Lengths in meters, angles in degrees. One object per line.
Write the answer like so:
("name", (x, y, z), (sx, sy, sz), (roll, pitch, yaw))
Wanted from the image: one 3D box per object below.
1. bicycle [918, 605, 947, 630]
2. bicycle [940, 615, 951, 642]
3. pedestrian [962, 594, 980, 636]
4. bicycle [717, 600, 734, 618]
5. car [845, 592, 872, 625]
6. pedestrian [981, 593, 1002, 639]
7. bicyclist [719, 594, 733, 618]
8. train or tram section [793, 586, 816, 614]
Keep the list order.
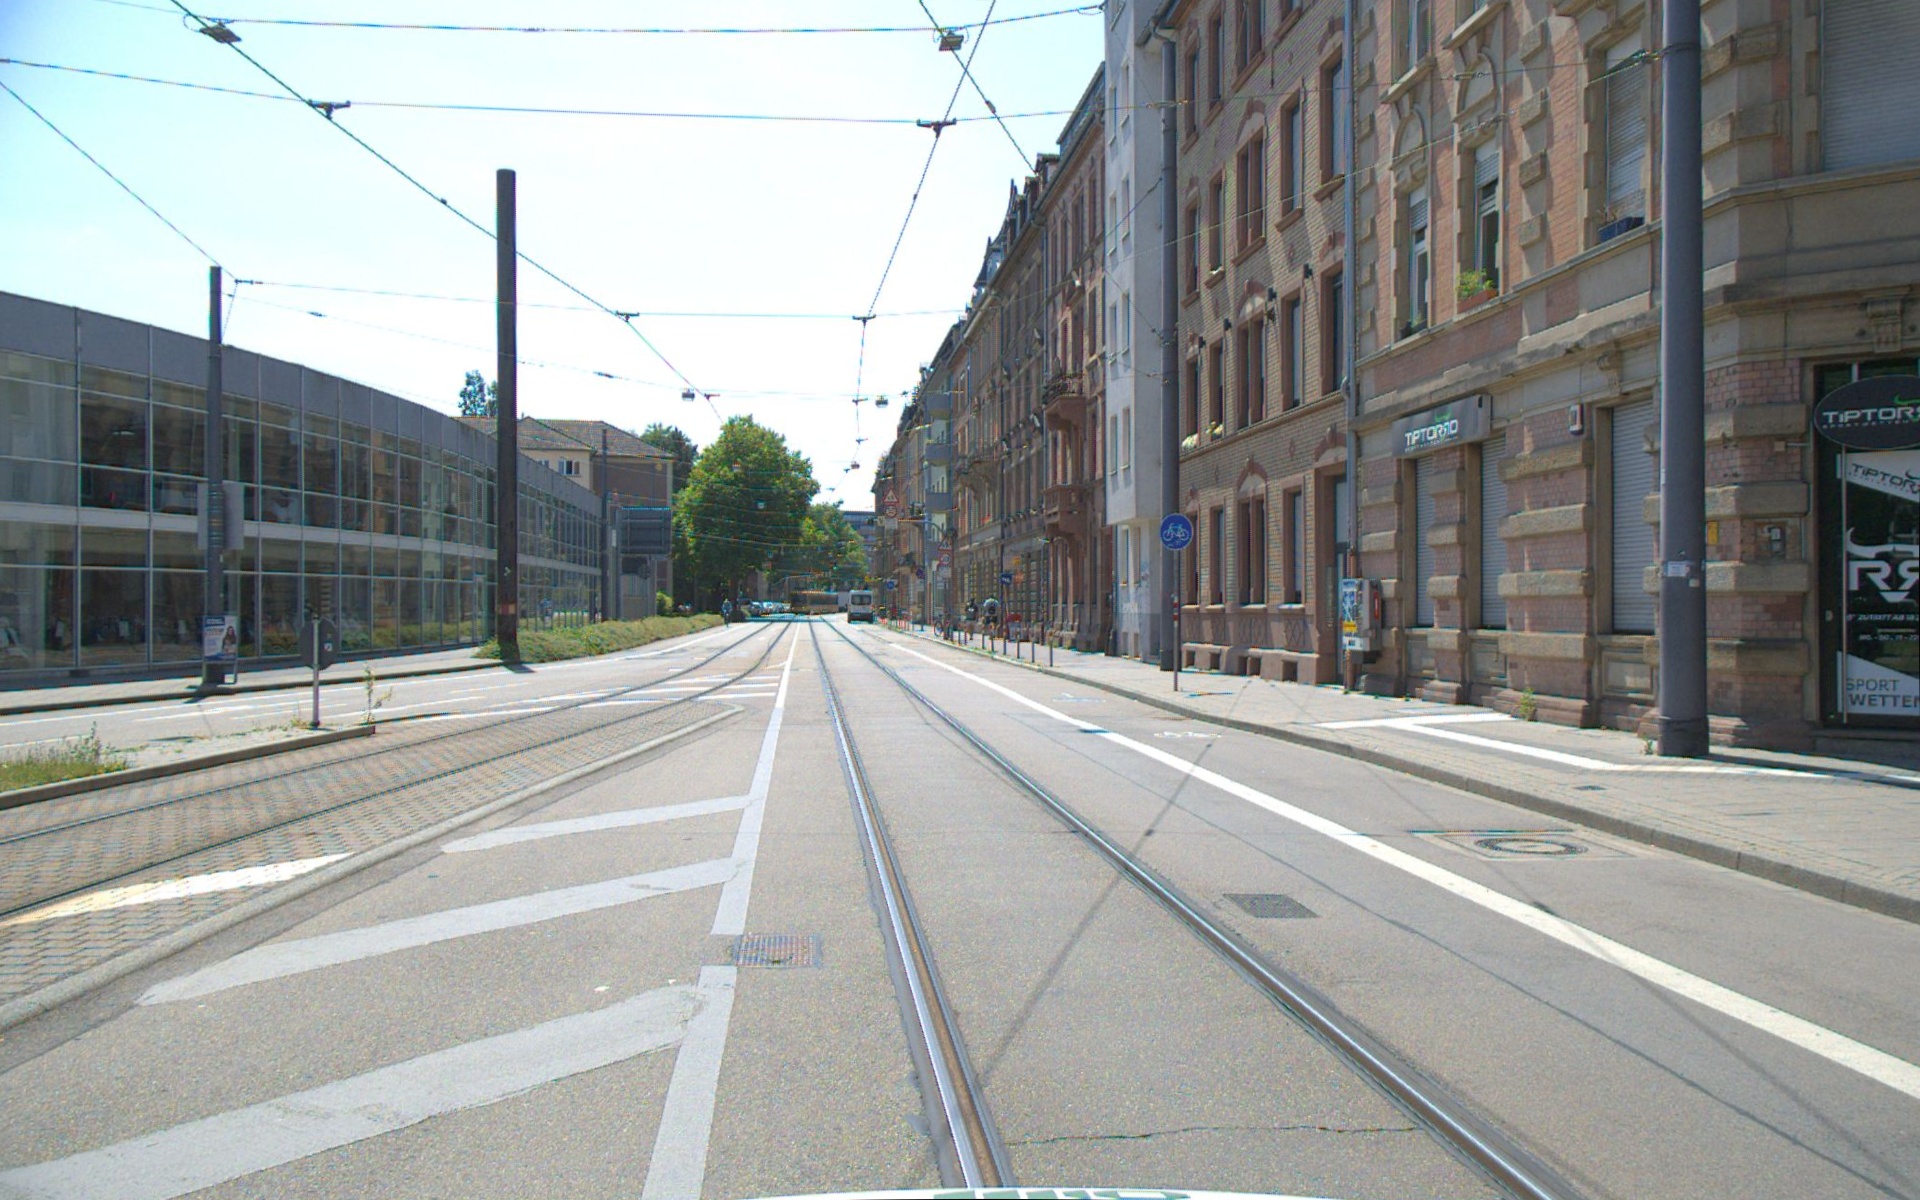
("bicycle", (-1.265, 0.830, 77.645), (0.489, 1.150, 2.242), (-1, 0, 23))
("bicycle", (-0.608, 1.208, 70.171), (0.438, 1.116, 2.422), (-1, 0, 0))
("pedestrian", (0.452, 0.619, 69.344), (0.706, 1.750, 0.643), (0, 0, -5))
("bicycle", (-15.370, 0.607, 108.511), (0.683, 1.164, 2.496), (0, 0, 2))
("car", (-8.048, 0.646, 130.586), (2.027, 2.545, 5.449), (1, 0, -4))
("pedestrian", (1.309, 0.669, 69.328), (0.689, 1.881, 0.643), (-4, 0, -5))
("bicyclist", (-15.371, 0.410, 108.689), (0.683, 1.575, 0.980), (0, 0, 2))
("train or tram section", (-20.734, -0.001, 219.664), (2.903, 3.643, 13.406), (0, 0, -6))
